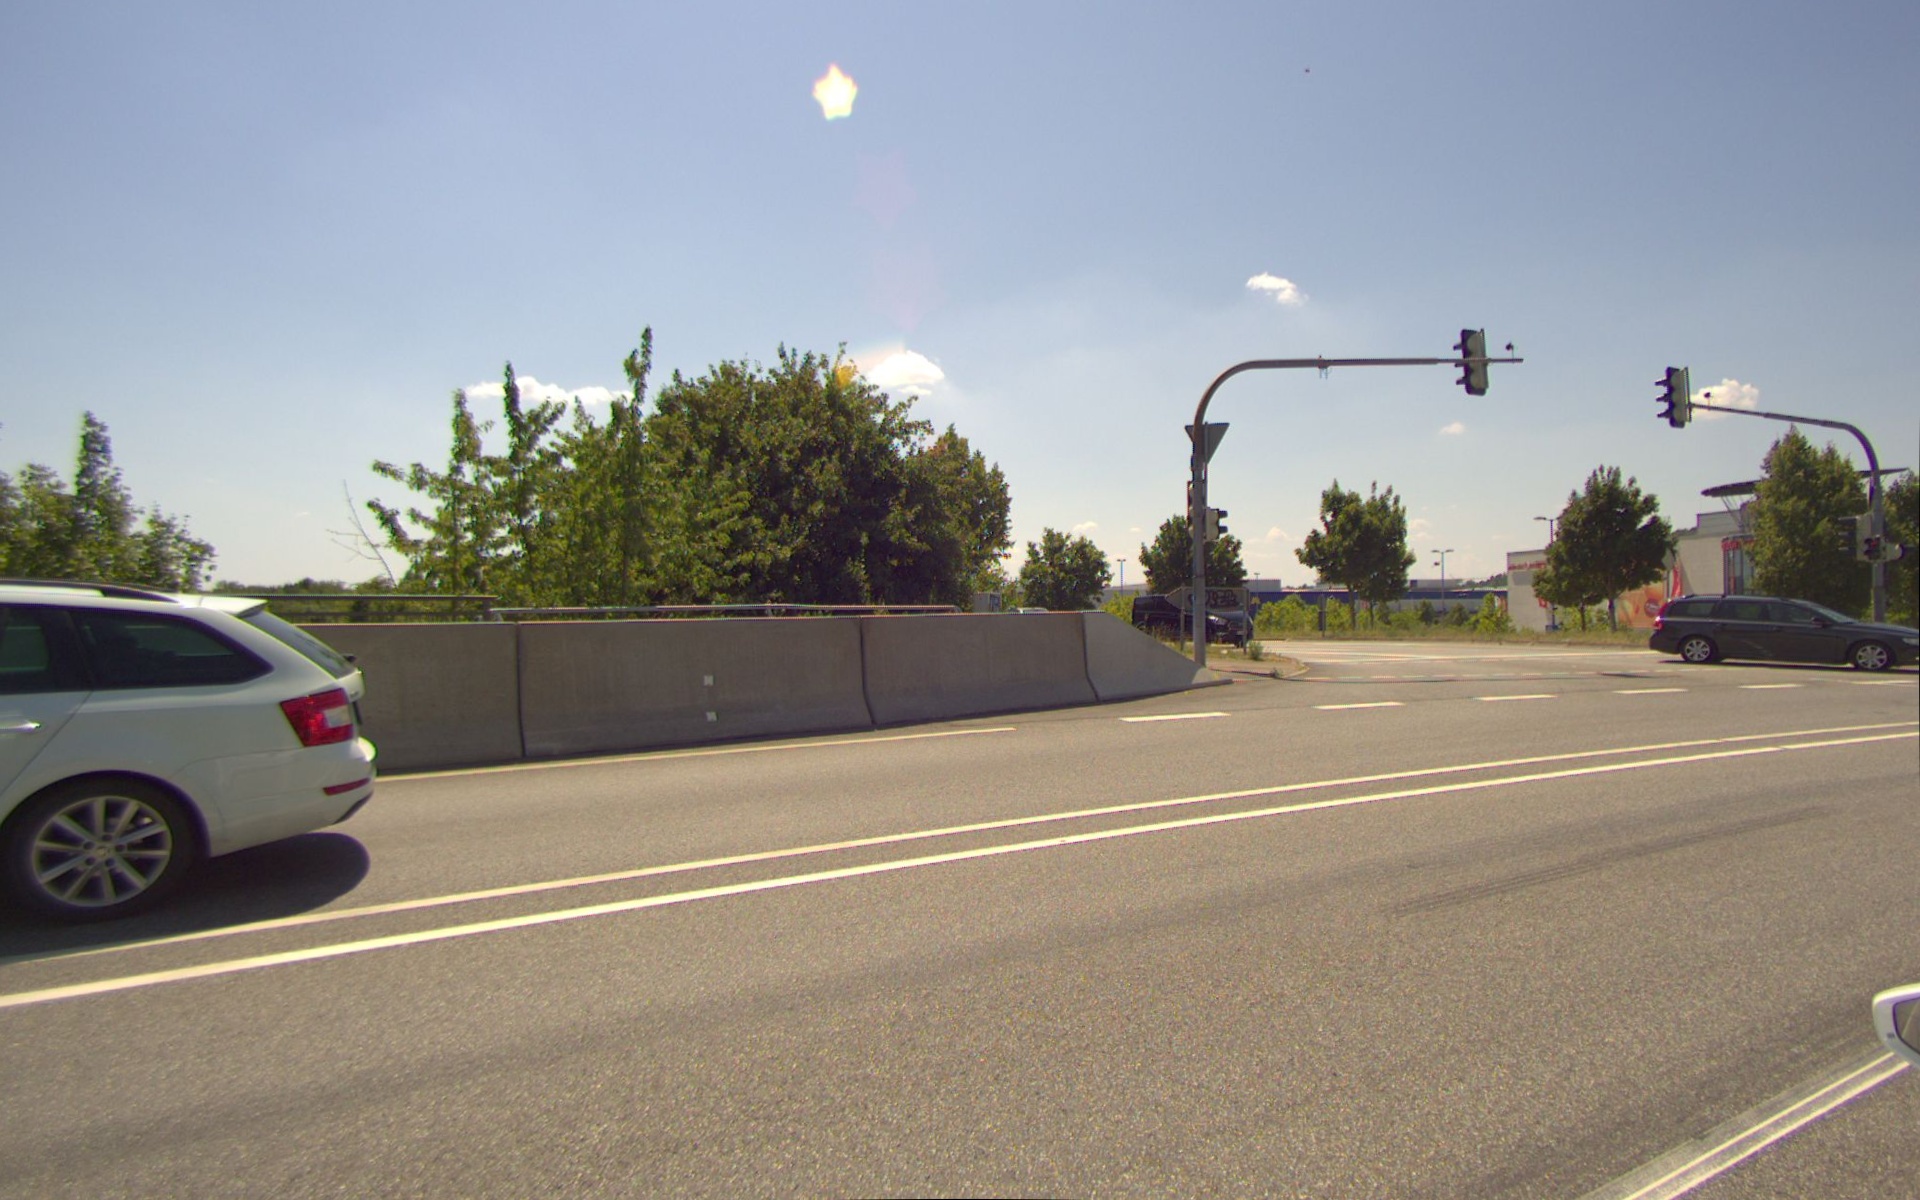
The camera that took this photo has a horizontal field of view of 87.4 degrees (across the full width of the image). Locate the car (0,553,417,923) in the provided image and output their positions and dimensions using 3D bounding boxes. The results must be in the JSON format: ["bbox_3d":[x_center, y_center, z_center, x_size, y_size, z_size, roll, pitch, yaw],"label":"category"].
[{"bbox_3d":[-5.034,0.566,4.409,4.506,1.515,1.775,0,0,-36],"label":"car"}]

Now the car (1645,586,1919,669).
[{"bbox_3d":[17.453,0.508,21.216,1.723,1.566,4.676,0,0,-41],"label":"car"}]

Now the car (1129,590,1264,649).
[{"bbox_3d":[8.597,0.730,37.139,2.095,1.963,5.383,-1,-1,-22],"label":"car"}]
